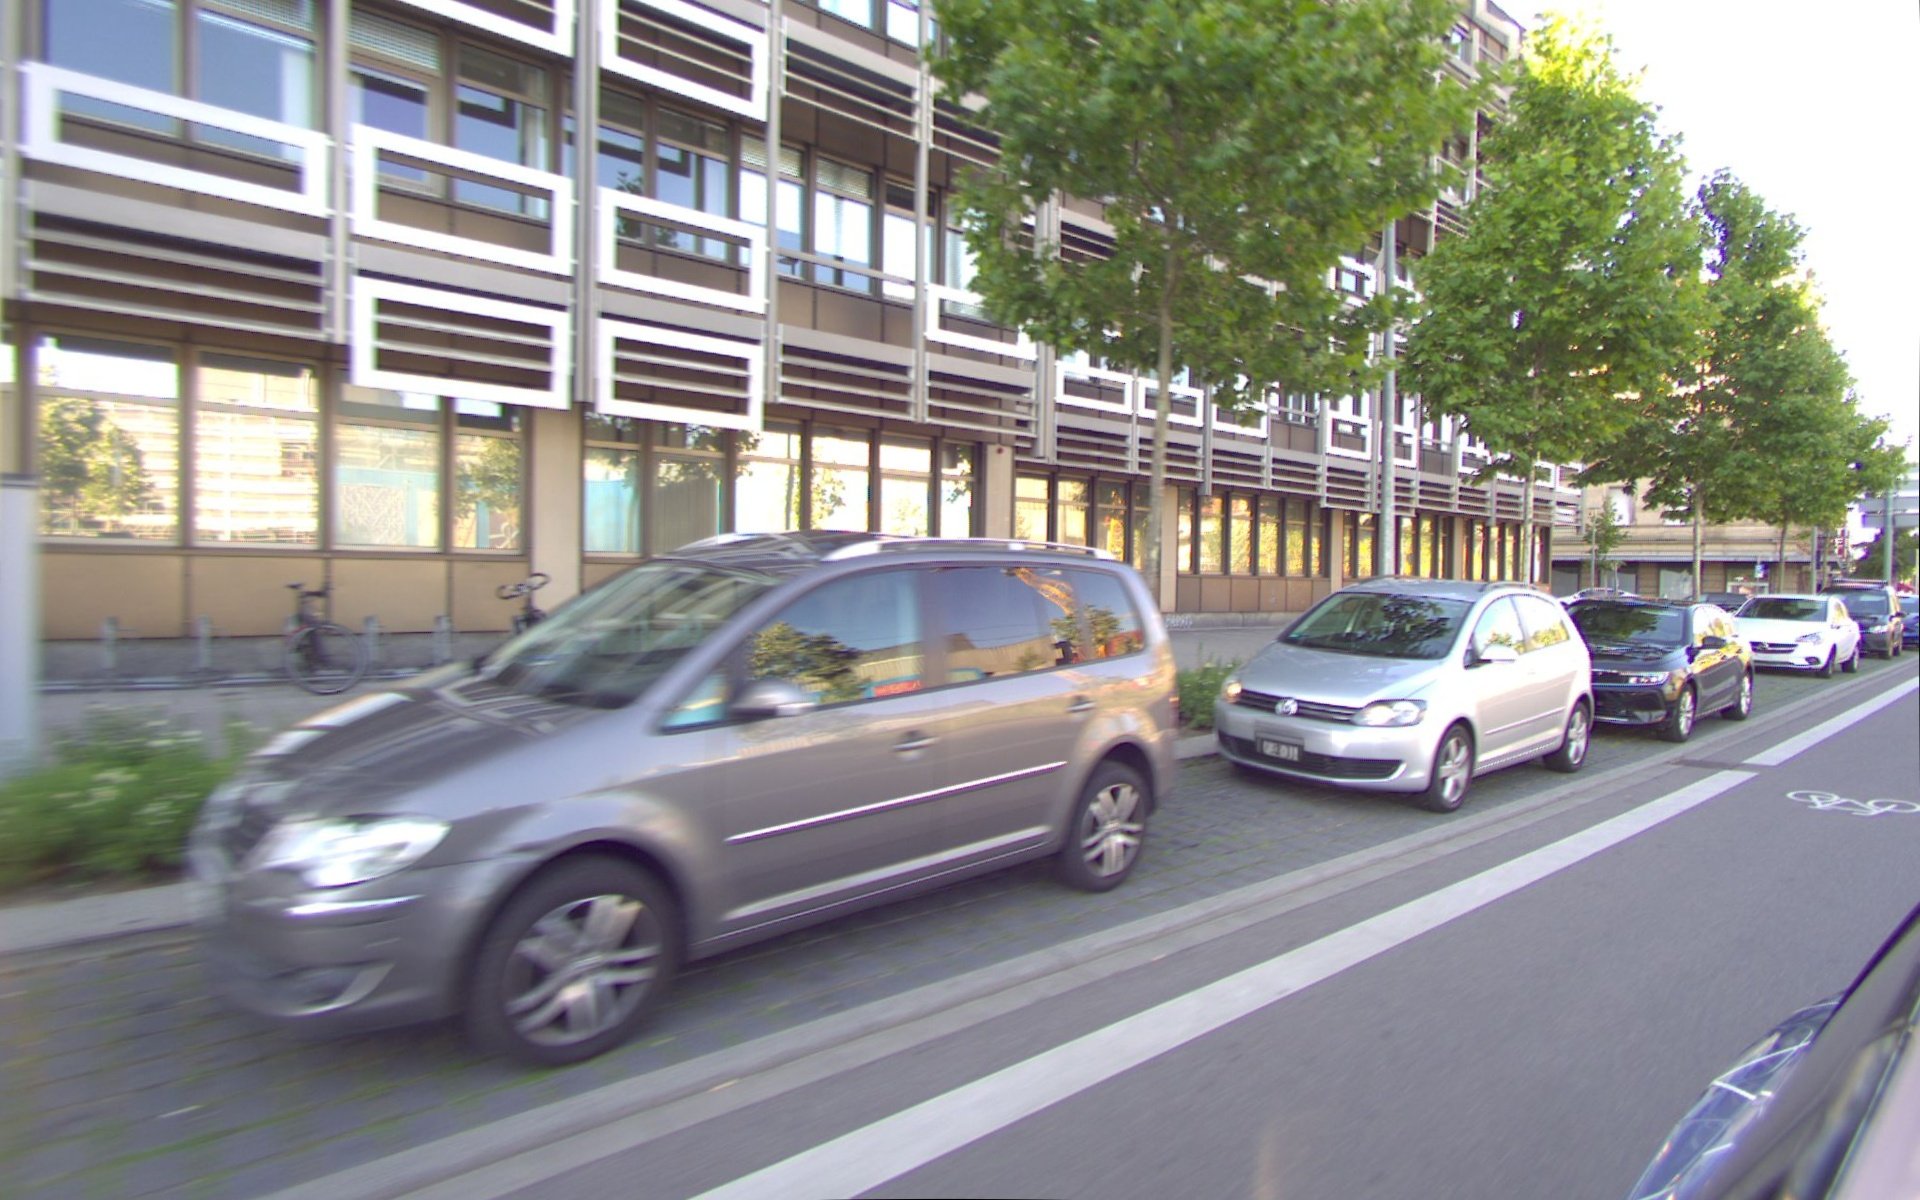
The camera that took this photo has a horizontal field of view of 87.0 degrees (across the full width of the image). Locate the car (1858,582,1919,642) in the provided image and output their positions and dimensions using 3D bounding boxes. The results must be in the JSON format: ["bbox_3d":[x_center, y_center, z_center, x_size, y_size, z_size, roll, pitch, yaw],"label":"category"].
[{"bbox_3d":[28.417,0.323,30.424,1.932,1.618,4.626,5,4,43],"label":"car"}]

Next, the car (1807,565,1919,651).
[{"bbox_3d":[23.097,0.162,25.769,4.319,1.942,1.737,0,3,-43],"label":"car"}]

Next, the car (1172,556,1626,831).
[{"bbox_3d":[3.720,0.543,8.222,4.143,1.641,1.732,0,3,-41],"label":"car"}]

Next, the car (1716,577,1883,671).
[{"bbox_3d":[15.971,0.395,19.188,4.129,1.508,1.668,0,3,-40],"label":"car"}]

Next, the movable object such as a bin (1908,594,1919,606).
[{"bbox_3d":[82.080,-0.006,86.994,0.549,0.935,0.679,0,4,-27],"label":"movable object such as a bin"}]

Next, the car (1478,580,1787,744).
[{"bbox_3d":[7.843,0.571,11.641,4.299,1.466,1.799,0,3,-40],"label":"car"}]

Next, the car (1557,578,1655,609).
[{"bbox_3d":[36.513,-0.381,57.244,4.532,1.615,1.838,2,2,39],"label":"car"}]

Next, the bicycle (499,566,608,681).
[{"bbox_3d":[-4.449,0.216,10.998,0.386,1.106,1.901,0,3,-45],"label":"bicycle"}]

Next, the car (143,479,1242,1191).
[{"bbox_3d":[-0.771,0.508,4.531,4.436,1.709,1.732,0,3,-41],"label":"car"}]

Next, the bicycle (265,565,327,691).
[{"bbox_3d":[-6.456,0.225,9.816,0.385,1.095,1.632,0,2,-37],"label":"bicycle"}]

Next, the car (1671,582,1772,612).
[{"bbox_3d":[40.562,-0.192,53.990,4.253,1.467,1.838,2,2,39],"label":"car"}]
